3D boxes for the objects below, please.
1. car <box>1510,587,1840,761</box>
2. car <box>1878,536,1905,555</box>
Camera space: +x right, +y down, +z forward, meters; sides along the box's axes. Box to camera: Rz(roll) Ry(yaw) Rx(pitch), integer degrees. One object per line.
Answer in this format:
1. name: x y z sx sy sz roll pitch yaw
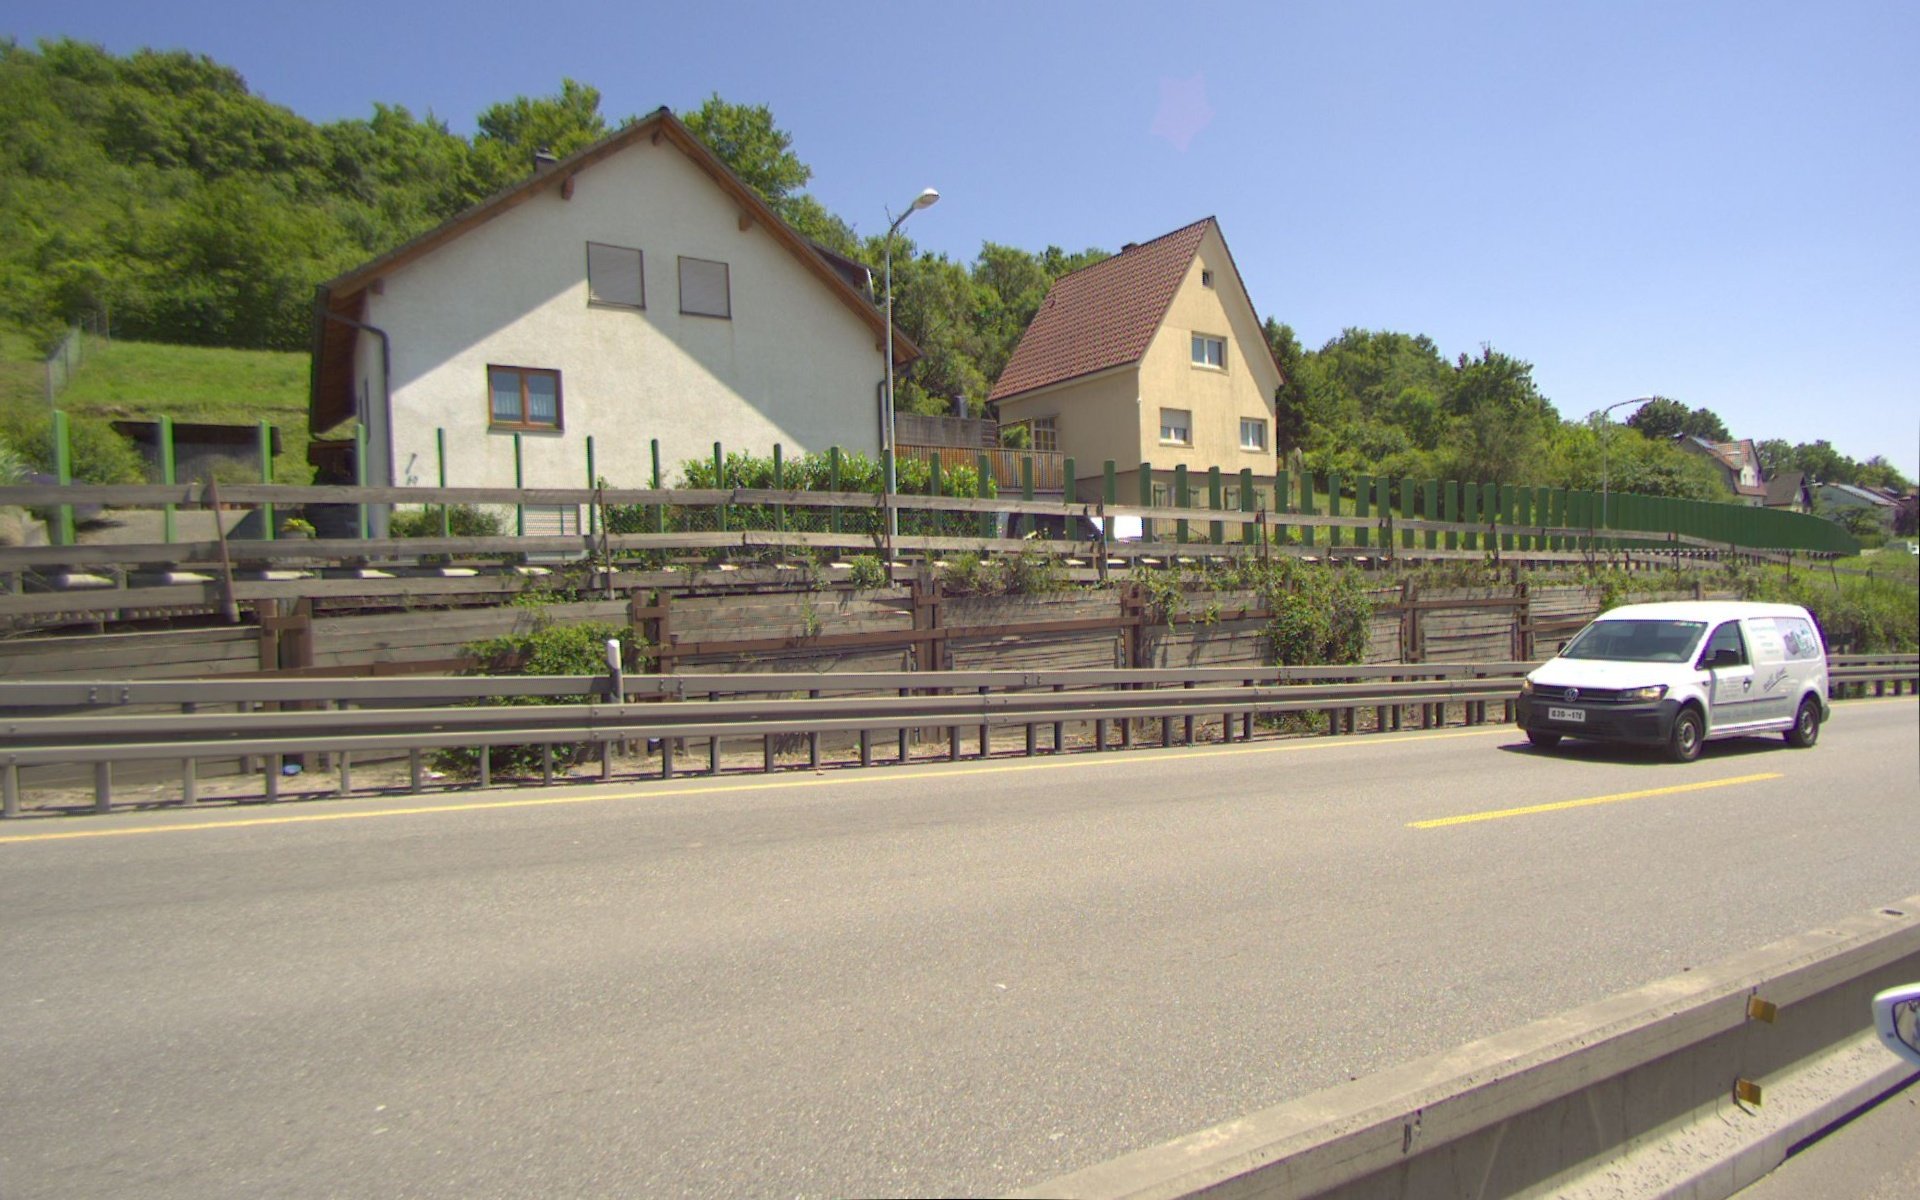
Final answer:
1. car: 9.071 0.870 12.629 4.696 1.858 1.589 2 -2 -30
2. car: 83.002 -4.833 89.570 1.708 1.417 3.780 2 0 43
